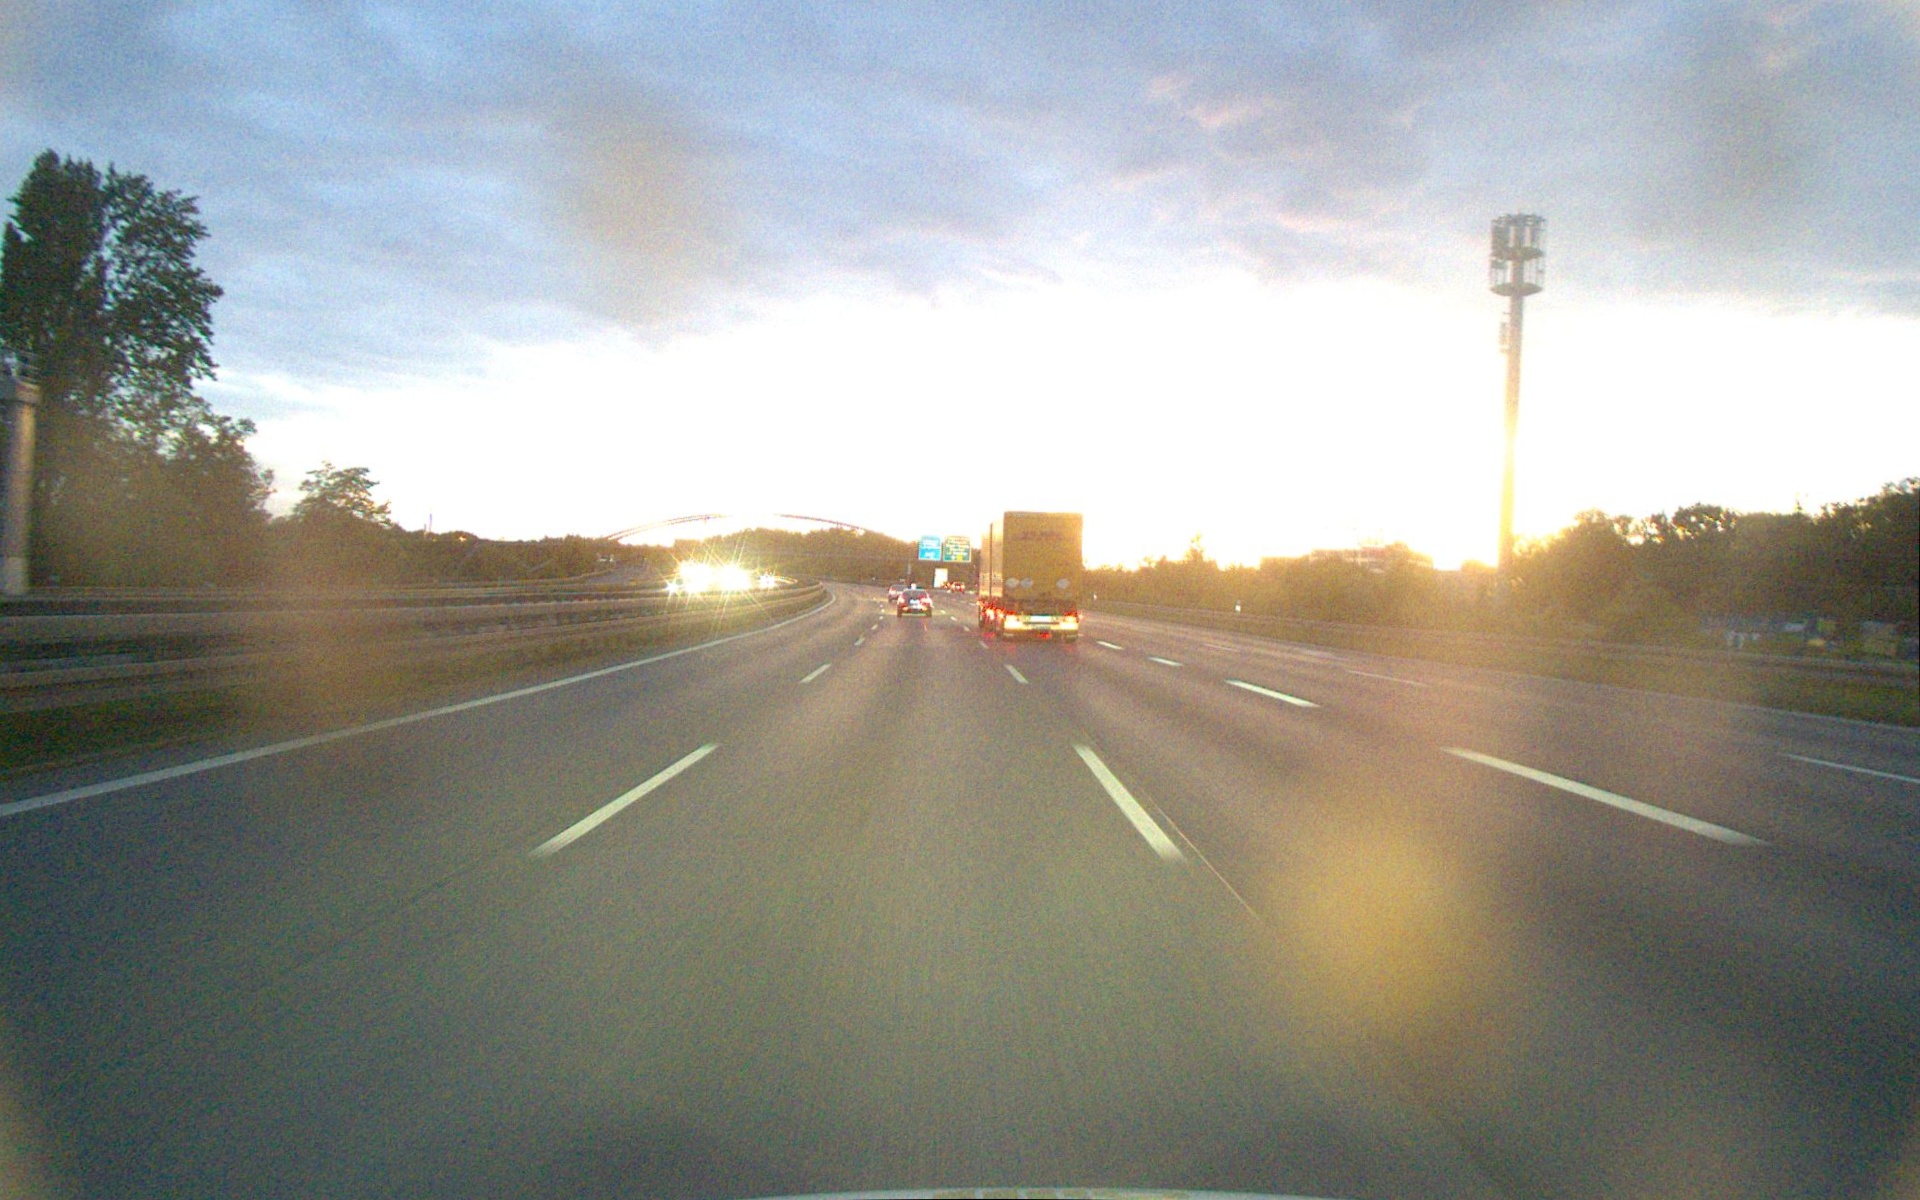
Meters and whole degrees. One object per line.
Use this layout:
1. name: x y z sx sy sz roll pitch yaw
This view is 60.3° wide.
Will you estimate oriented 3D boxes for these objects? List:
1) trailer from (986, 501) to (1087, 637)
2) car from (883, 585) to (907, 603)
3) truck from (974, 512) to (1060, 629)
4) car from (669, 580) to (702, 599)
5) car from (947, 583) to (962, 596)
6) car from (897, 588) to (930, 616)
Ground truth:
1. trailer: 2.425 -1.011 55.368 2.667 4.142 8.828 1 1 -2
2. car: -5.451 -0.519 138.642 1.654 1.426 3.409 1 -1 3
3. truck: 2.103 -1.136 65.019 2.636 4.142 10.517 1 1 -2
4. car: -21.293 -0.799 128.566 1.954 1.382 4.862 1 1 -3
5. car: -0.752 -1.447 231.606 1.953 1.747 3.998 2 -1 -2
6. car: -2.487 0.127 87.933 1.656 1.426 3.406 1 -1 -3
